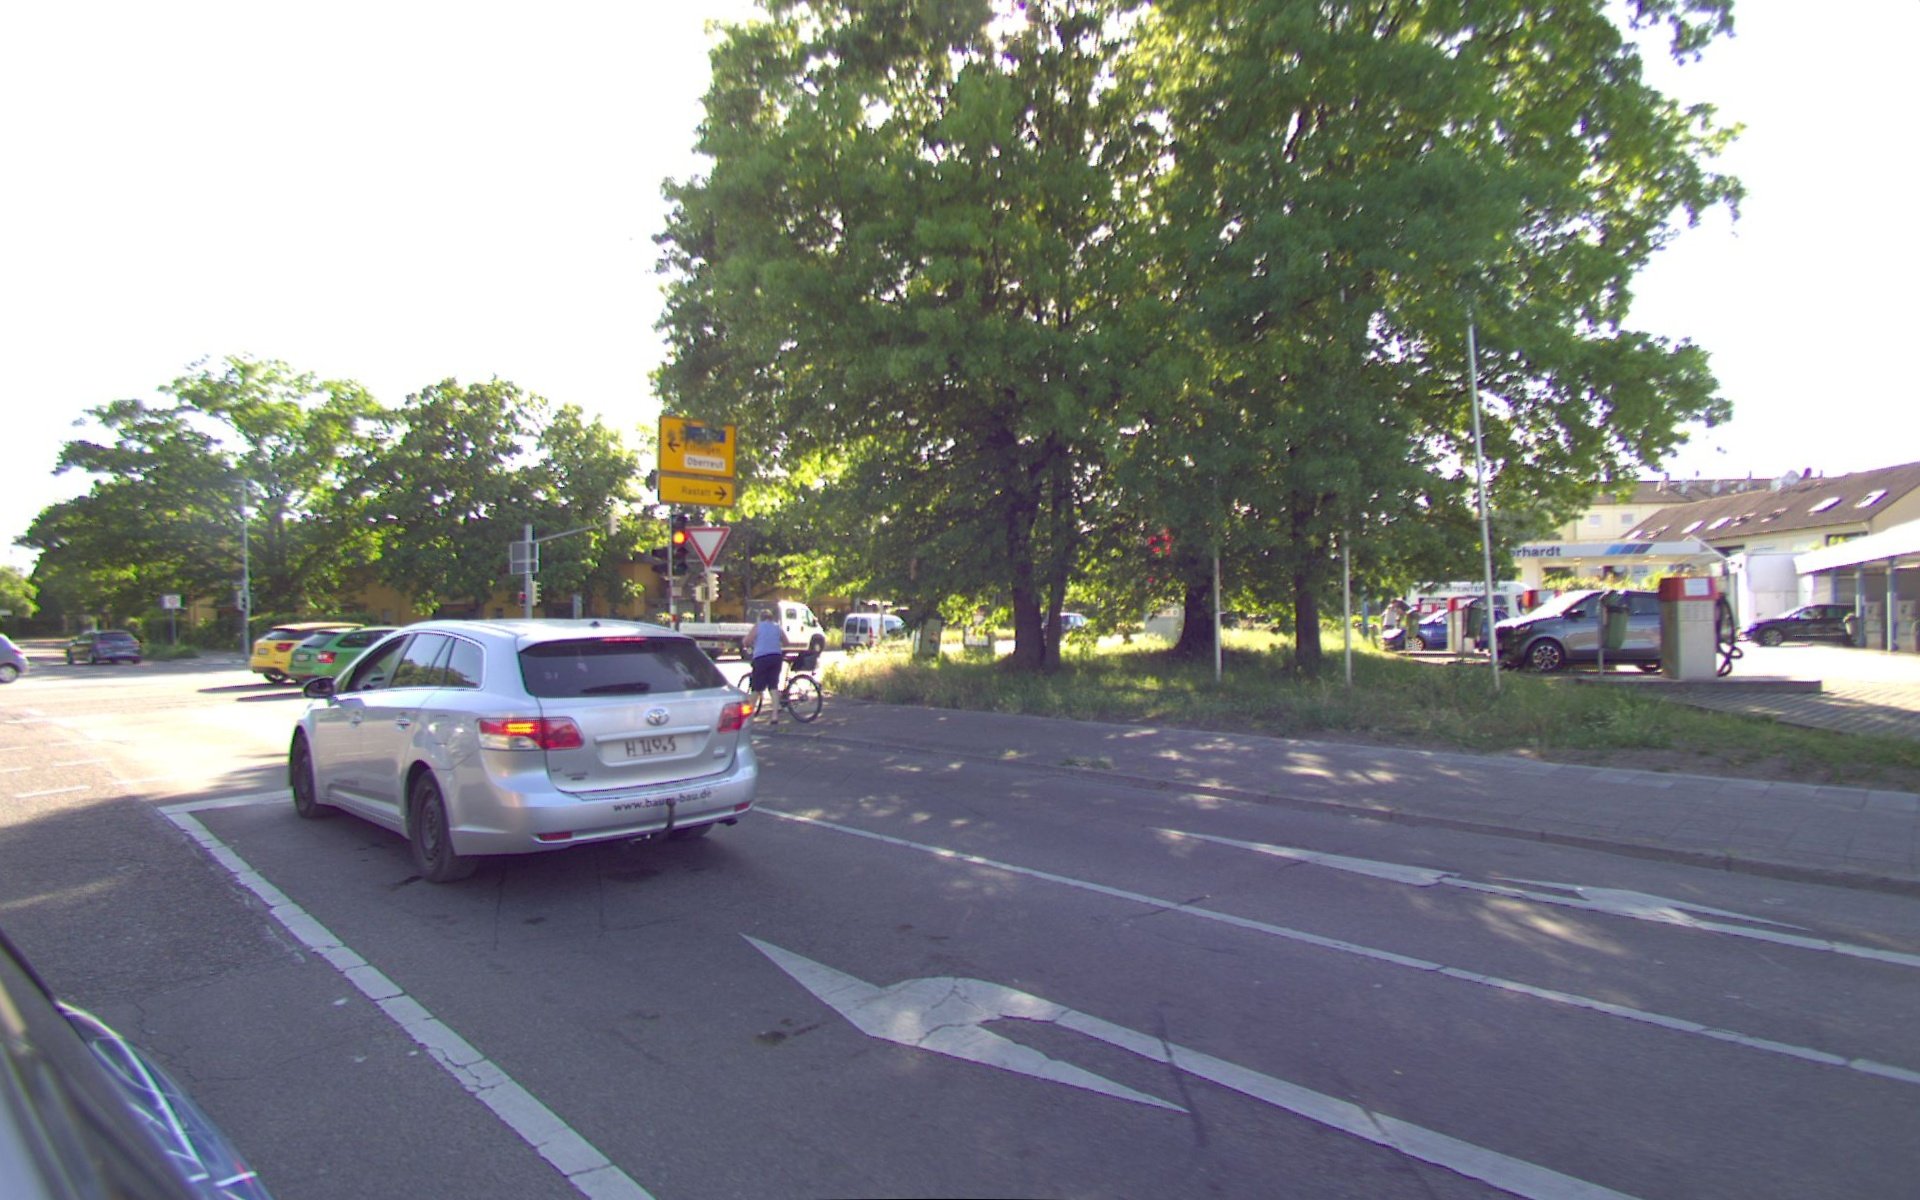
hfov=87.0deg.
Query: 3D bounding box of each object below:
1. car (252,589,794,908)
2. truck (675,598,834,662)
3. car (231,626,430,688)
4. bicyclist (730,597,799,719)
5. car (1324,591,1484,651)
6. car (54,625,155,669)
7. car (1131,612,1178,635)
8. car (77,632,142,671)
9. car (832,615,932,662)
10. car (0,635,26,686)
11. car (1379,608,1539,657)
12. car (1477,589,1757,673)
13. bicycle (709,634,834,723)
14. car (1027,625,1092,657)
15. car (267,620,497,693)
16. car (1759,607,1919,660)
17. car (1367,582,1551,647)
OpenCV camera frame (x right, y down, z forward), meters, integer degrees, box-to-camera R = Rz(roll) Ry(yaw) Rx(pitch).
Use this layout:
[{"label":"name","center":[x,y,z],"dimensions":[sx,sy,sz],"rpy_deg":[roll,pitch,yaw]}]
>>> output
[{"label":"car","center":[-3.364,0.771,7.149],"dimensions":[4.892,1.500,1.816],"rpy_deg":[-2,-2,45]},{"label":"truck","center":[-7.931,1.161,39.917],"dimensions":[2.184,2.327,6.702],"rpy_deg":[-2,-2,31]},{"label":"car","center":[-16.233,1.409,26.291],"dimensions":[1.687,1.451,4.076],"rpy_deg":[-1,-1,32]},{"label":"bicyclist","center":[-2.741,0.795,14.159],"dimensions":[0.829,1.654,0.535],"rpy_deg":[-2,-2,38]},{"label":"car","center":[12.361,0.569,28.356],"dimensions":[3.974,1.523,1.520],"rpy_deg":[1,0,23]},{"label":"car","center":[-36.516,1.955,43.181],"dimensions":[4.083,1.665,1.792],"rpy_deg":[1,0,26]},{"label":"car","center":[14.804,1.776,76.916],"dimensions":[1.944,1.665,4.315],"rpy_deg":[1,0,33]},{"label":"car","center":[-36.289,2.160,43.154],"dimensions":[3.891,1.409,1.617],"rpy_deg":[1,0,43]},{"label":"car","center":[-3.101,1.508,41.048],"dimensions":[1.913,1.741,4.319],"rpy_deg":[1,0,30]},{"label":"car","center":[-29.021,1.740,28.622],"dimensions":[1.548,1.443,3.557],"rpy_deg":[-1,-2,33]},{"label":"car","center":[15.091,0.955,30.783],"dimensions":[3.955,1.345,1.794],"rpy_deg":[1,0,10]},{"label":"car","center":[12.068,0.544,18.851],"dimensions":[3.955,1.386,1.755],"rpy_deg":[1,0,9]},{"label":"bicycle","center":[-2.657,1.061,14.139],"dimensions":[2.023,1.150,0.522],"rpy_deg":[-2,-2,39]},{"label":"car","center":[5.550,2.216,55.798],"dimensions":[1.822,1.697,4.343],"rpy_deg":[0,-1,33]},{"label":"car","center":[-13.534,1.259,23.930],"dimensions":[1.916,1.497,4.314],"rpy_deg":[1,0,34]},{"label":"car","center":[31.012,1.155,35.854],"dimensions":[4.069,1.684,1.569],"rpy_deg":[1,0,32]},{"label":"car","center":[17.465,0.466,35.534],"dimensions":[5.634,2.115,1.979],"rpy_deg":[1,0,31]}]
